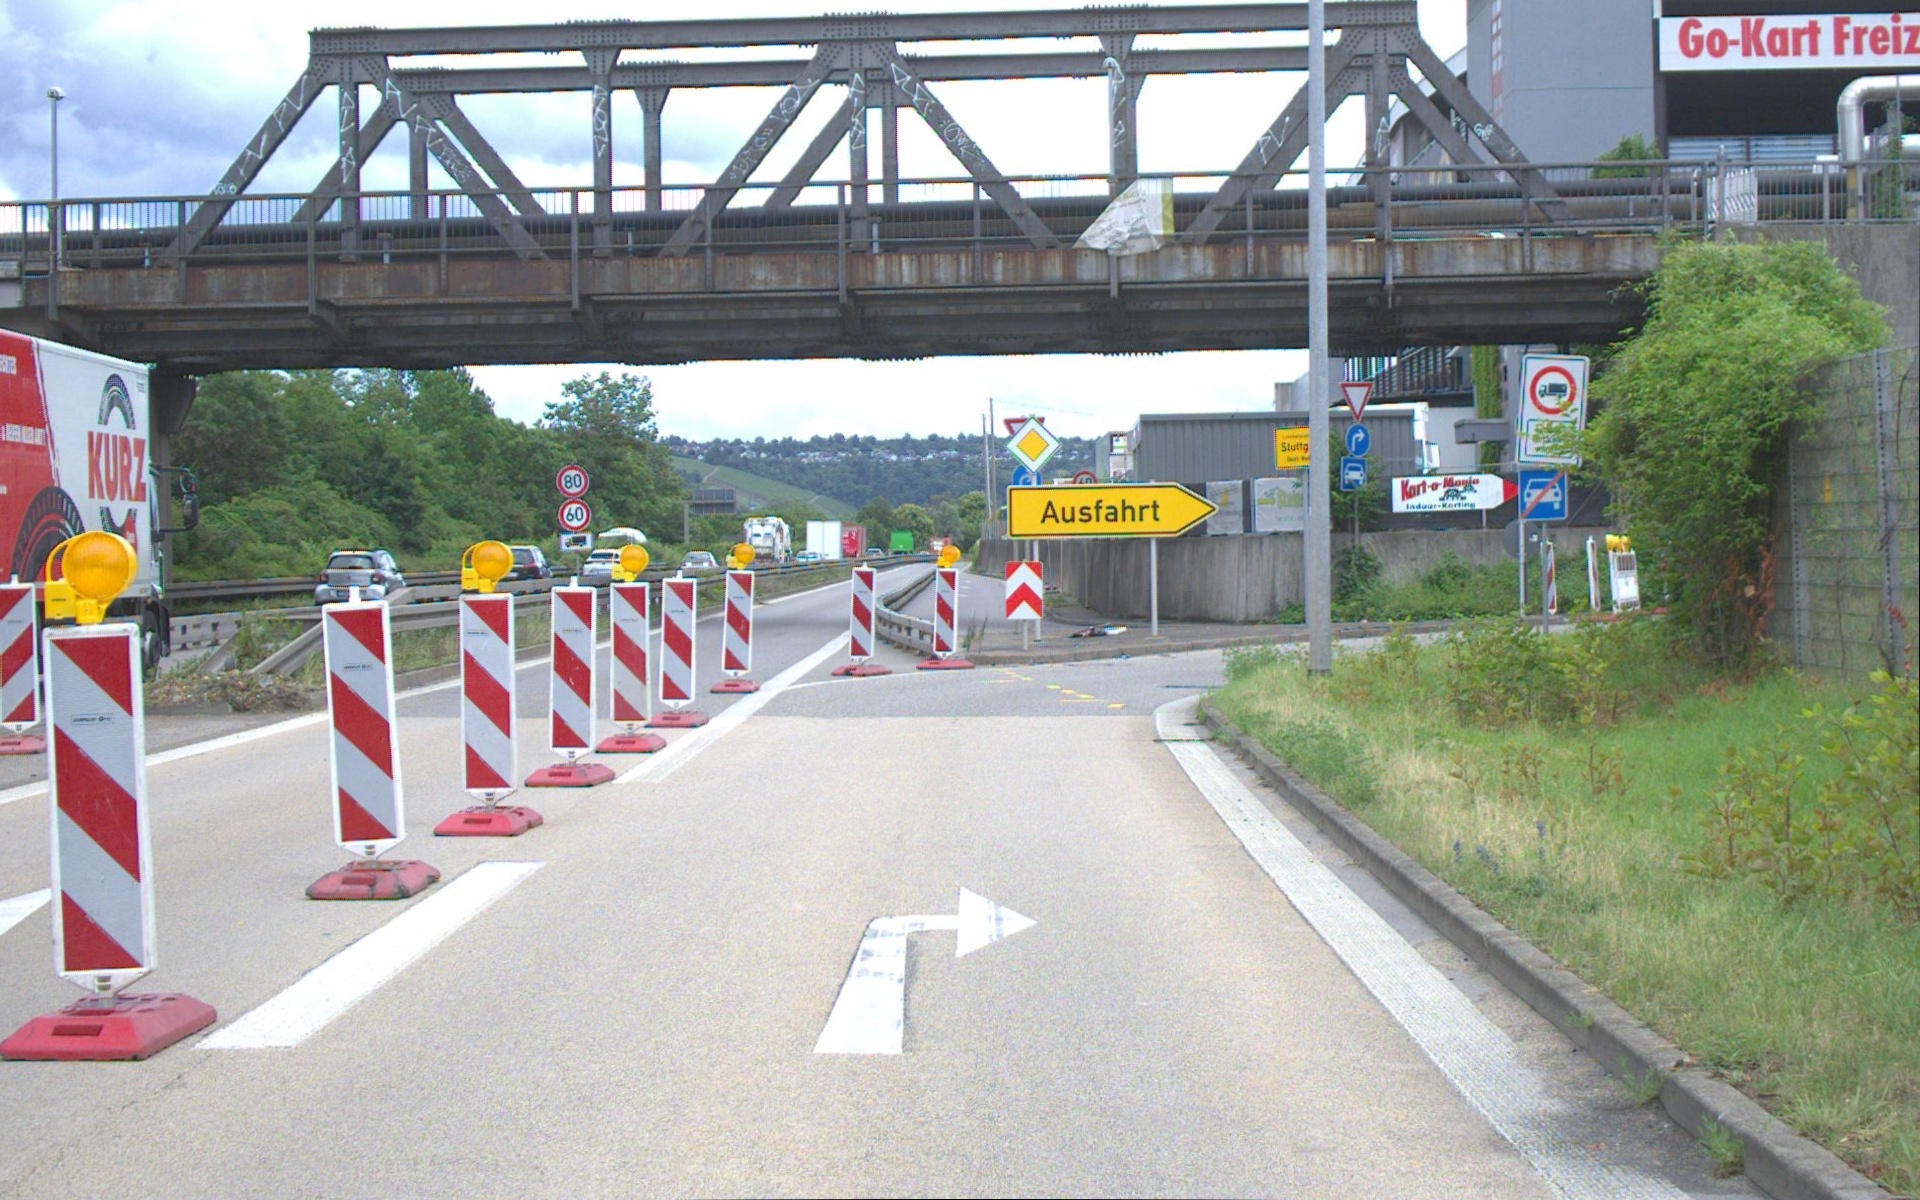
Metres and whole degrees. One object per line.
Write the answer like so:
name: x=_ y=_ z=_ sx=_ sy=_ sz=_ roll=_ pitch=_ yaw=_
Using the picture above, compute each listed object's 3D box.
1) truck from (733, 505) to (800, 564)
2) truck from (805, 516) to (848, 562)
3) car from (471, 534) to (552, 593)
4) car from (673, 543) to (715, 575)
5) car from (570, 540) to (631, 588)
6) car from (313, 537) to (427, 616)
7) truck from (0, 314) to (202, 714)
truck: x=-12.240 y=-4.159 z=218.453 sx=3.720 sy=3.633 sz=7.728 roll=0 pitch=1 yaw=1
truck: x=-9.252 y=-4.251 z=238.842 sx=2.681 sy=3.129 sz=6.132 roll=1 pitch=1 yaw=1
car: x=-13.800 y=-1.116 z=106.009 sx=1.993 sy=1.753 sz=4.000 roll=-1 pitch=0 yaw=-1
car: x=-13.405 y=-2.085 z=173.501 sx=1.779 sy=1.590 sz=3.749 roll=0 pitch=1 yaw=1
car: x=-13.852 y=-1.417 z=132.596 sx=1.993 sy=1.809 sz=4.000 roll=0 pitch=1 yaw=-1
car: x=-13.743 y=-0.556 z=80.264 sx=1.993 sy=1.753 sz=4.000 roll=-1 pitch=0 yaw=-1
truck: x=-10.227 y=-0.871 z=34.963 sx=2.953 sy=3.617 sz=10.155 roll=0 pitch=1 yaw=-1
